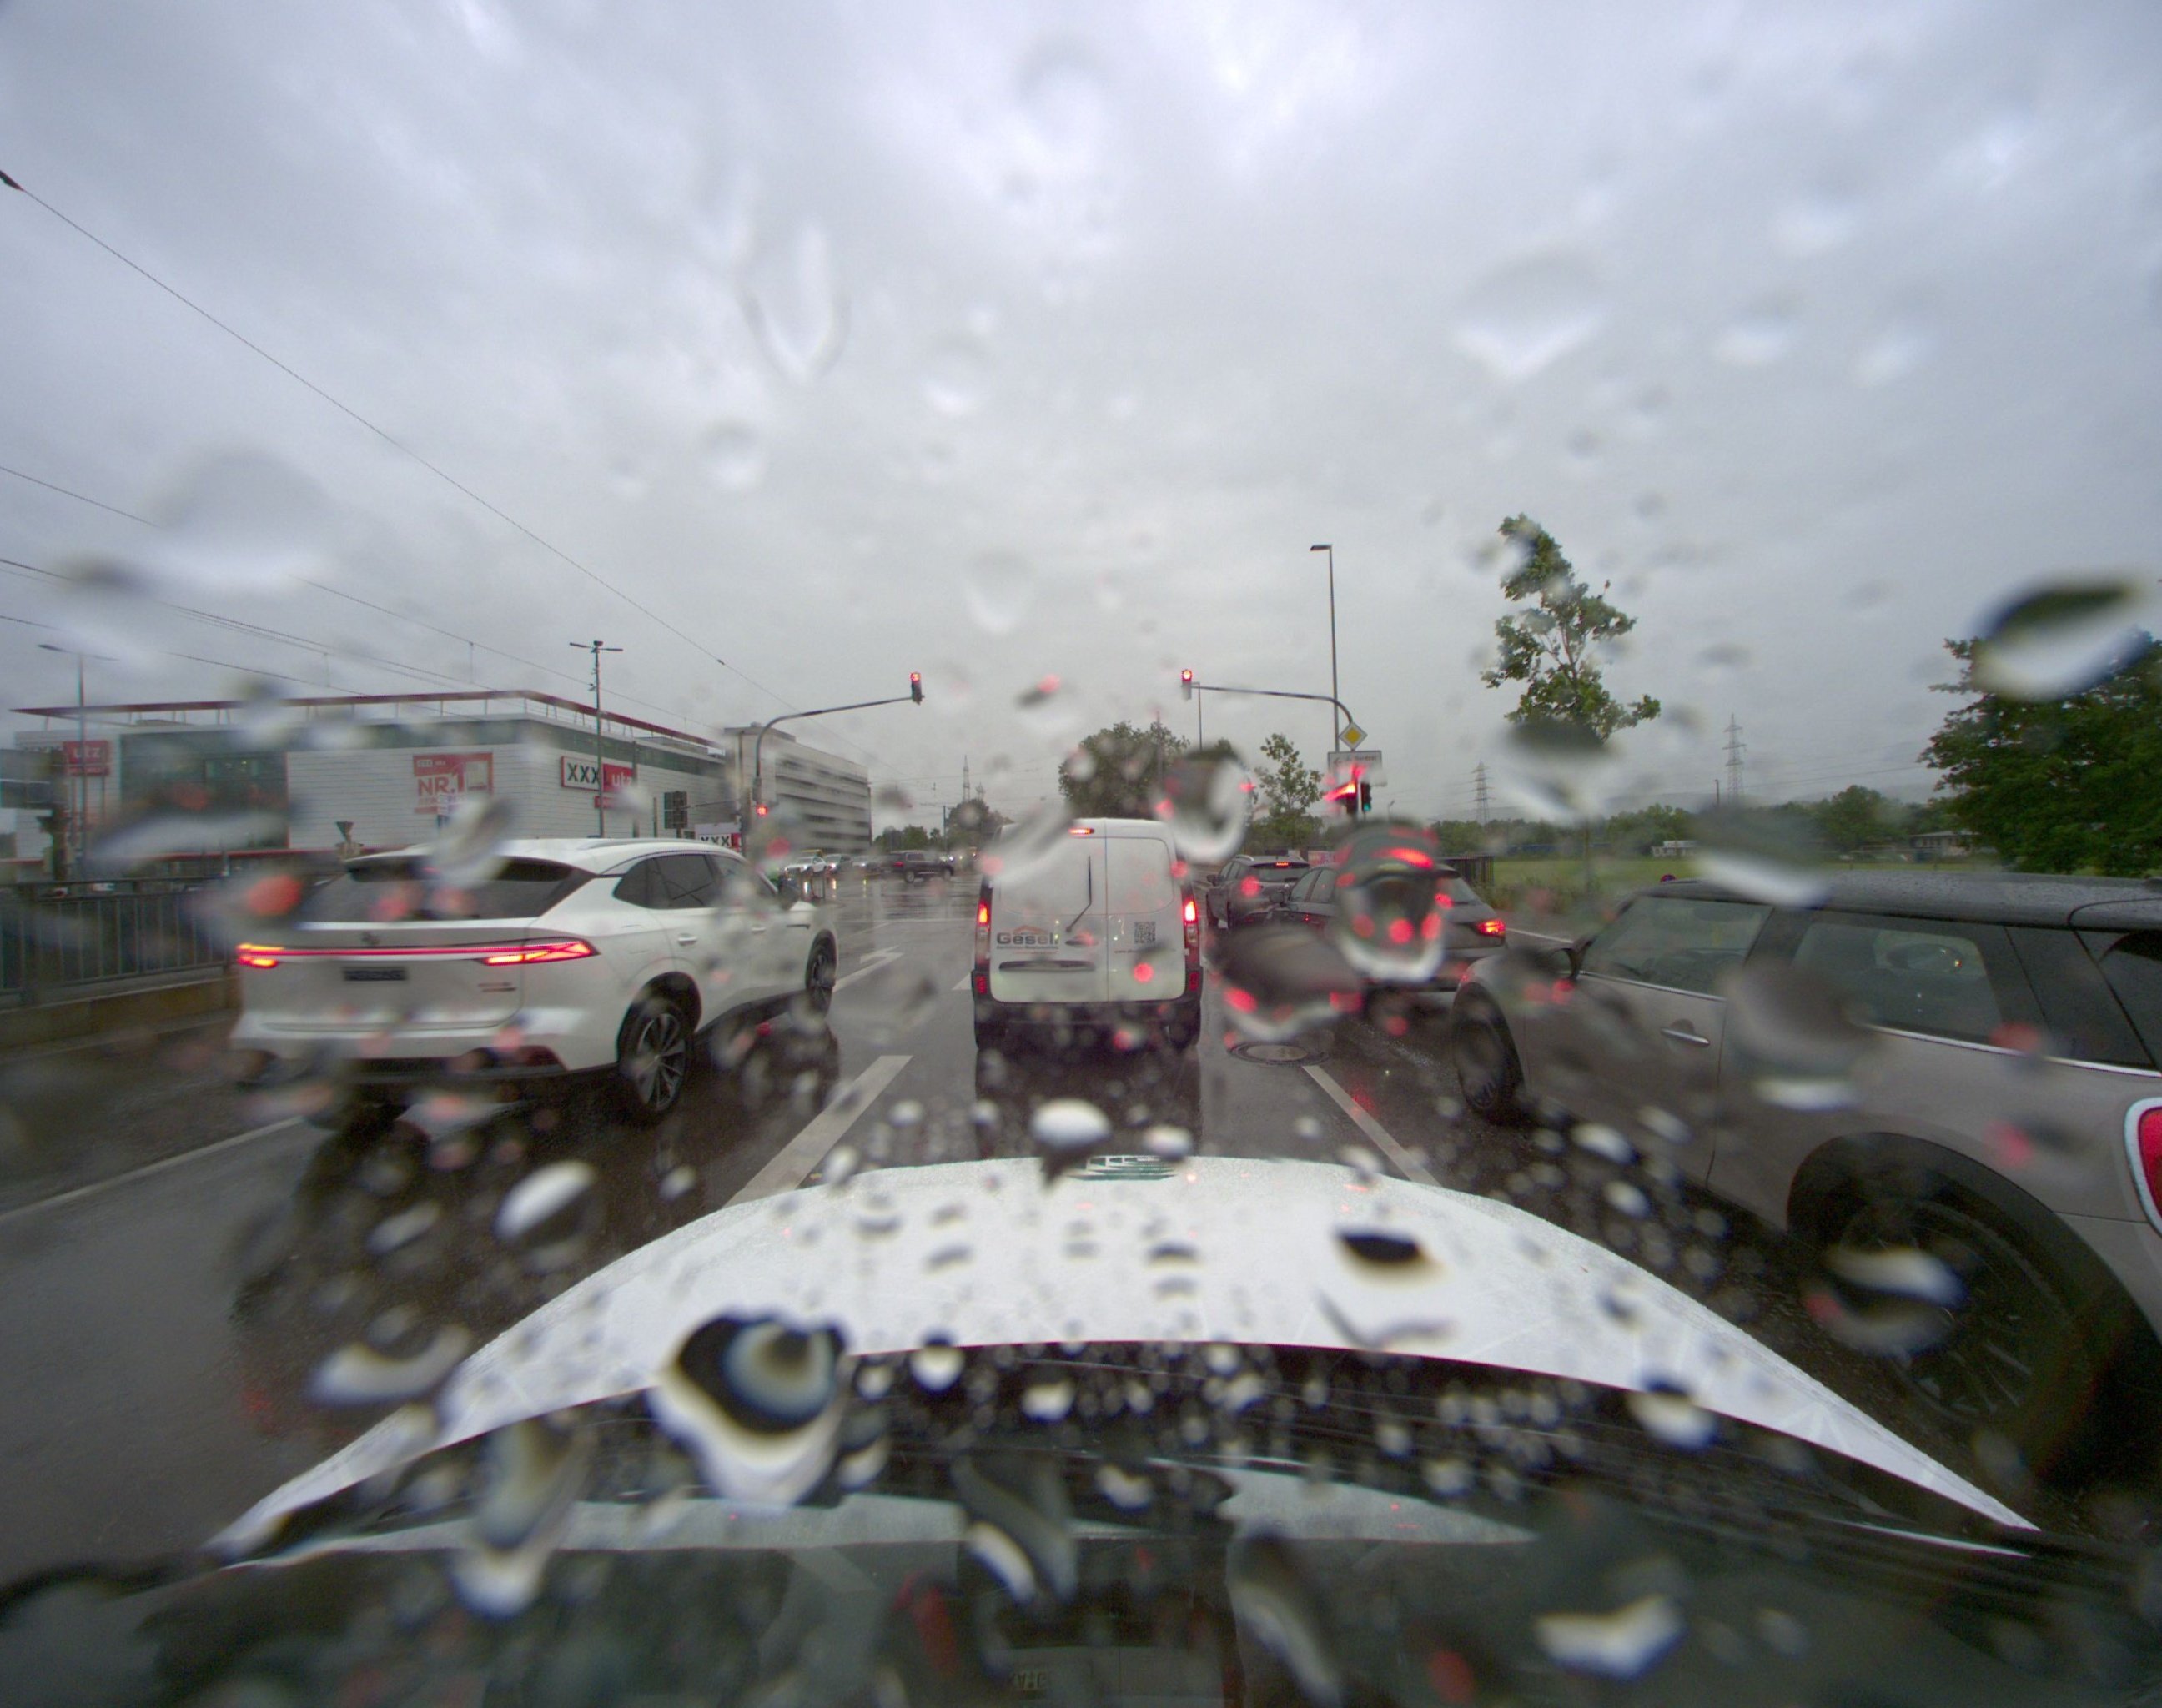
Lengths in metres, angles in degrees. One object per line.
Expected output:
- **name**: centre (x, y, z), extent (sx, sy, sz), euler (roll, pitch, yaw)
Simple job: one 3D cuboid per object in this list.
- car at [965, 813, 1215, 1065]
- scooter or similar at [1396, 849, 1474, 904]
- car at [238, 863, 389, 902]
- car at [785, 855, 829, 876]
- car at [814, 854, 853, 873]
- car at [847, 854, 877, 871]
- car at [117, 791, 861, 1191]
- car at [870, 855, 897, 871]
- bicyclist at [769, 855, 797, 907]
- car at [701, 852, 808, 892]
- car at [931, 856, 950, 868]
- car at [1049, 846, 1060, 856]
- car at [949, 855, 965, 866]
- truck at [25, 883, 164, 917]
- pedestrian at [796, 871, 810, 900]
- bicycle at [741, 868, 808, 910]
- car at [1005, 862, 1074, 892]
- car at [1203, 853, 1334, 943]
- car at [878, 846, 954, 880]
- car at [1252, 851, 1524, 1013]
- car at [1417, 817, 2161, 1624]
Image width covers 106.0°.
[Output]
- **car**: centre (0.014, 0.571, 7.826), extent (1.749, 1.750, 4.166), euler (-1, 1, -2)
- **scooter or similar**: centre (8.526, 0.503, 19.763), extent (0.687, 1.211, 3.022), euler (-2, 0, 3)
- **car**: centre (-30.342, 1.122, 32.286), extent (4.228, 1.428, 1.649), euler (1, -1, -3)
- **car**: centre (-19.426, 0.819, 57.810), extent (1.704, 1.426, 3.810), euler (1, -1, 2)
- **car**: centre (-19.329, 0.781, 63.719), extent (1.704, 1.426, 3.810), euler (1, -1, 2)
- **car**: centre (-19.043, 0.789, 70.952), extent (1.554, 1.426, 3.570), euler (1, -1, 2)
- **car**: centre (-3.272, 0.618, 5.967), extent (1.923, 1.775, 4.665), euler (0, 0, 2)
- **car**: centre (-18.870, 0.882, 78.033), extent (1.554, 1.426, 3.570), euler (1, -1, 2)
- **bicyclist**: centre (-8.703, 0.782, 23.789), extent (0.608, 1.491, 0.593), euler (0, -1, -39)
- **car**: centre (-12.758, 0.702, 32.047), extent (3.741, 1.507, 1.640), euler (1, -1, -19)
- **car**: centre (-17.659, 1.042, 102.467), extent (1.554, 1.426, 3.570), euler (1, -1, 2)
- **car**: centre (-4.759, -0.436, 144.861), extent (1.942, 1.662, 4.461), euler (1, -1, -1)
- **car**: centre (-17.353, 0.914, 113.759), extent (1.554, 1.426, 3.570), euler (1, -1, 2)
- **truck**: centre (-60.228, 2.806, 49.797), extent (5.859, 1.942, 2.012), euler (1, -1, 0)
- **pedestrian**: centre (-8.823, 0.995, 25.873), extent (0.314, 0.897, 0.380), euler (1, 0, -1)
- **bicycle**: centre (-8.876, 0.993, 23.628), extent (1.768, 1.137, 0.514), euler (0, -1, -41)
- **car**: centre (-2.034, 1.164, 41.245), extent (1.516, 1.398, 3.820), euler (2, 0, 32)
- **car**: centre (3.433, 0.742, 15.587), extent (1.678, 1.508, 3.921), euler (0, 0, 1)
- **car**: centre (-8.754, 0.497, 43.481), extent (1.685, 1.674, 3.820), euler (2, 0, 36)
- **car**: centre (3.090, 0.724, 9.004), extent (1.592, 1.366, 3.629), euler (-2, -1, 0)
- **car**: centre (2.941, 0.708, 3.241), extent (1.696, 1.508, 3.881), euler (1, 0, 2)
